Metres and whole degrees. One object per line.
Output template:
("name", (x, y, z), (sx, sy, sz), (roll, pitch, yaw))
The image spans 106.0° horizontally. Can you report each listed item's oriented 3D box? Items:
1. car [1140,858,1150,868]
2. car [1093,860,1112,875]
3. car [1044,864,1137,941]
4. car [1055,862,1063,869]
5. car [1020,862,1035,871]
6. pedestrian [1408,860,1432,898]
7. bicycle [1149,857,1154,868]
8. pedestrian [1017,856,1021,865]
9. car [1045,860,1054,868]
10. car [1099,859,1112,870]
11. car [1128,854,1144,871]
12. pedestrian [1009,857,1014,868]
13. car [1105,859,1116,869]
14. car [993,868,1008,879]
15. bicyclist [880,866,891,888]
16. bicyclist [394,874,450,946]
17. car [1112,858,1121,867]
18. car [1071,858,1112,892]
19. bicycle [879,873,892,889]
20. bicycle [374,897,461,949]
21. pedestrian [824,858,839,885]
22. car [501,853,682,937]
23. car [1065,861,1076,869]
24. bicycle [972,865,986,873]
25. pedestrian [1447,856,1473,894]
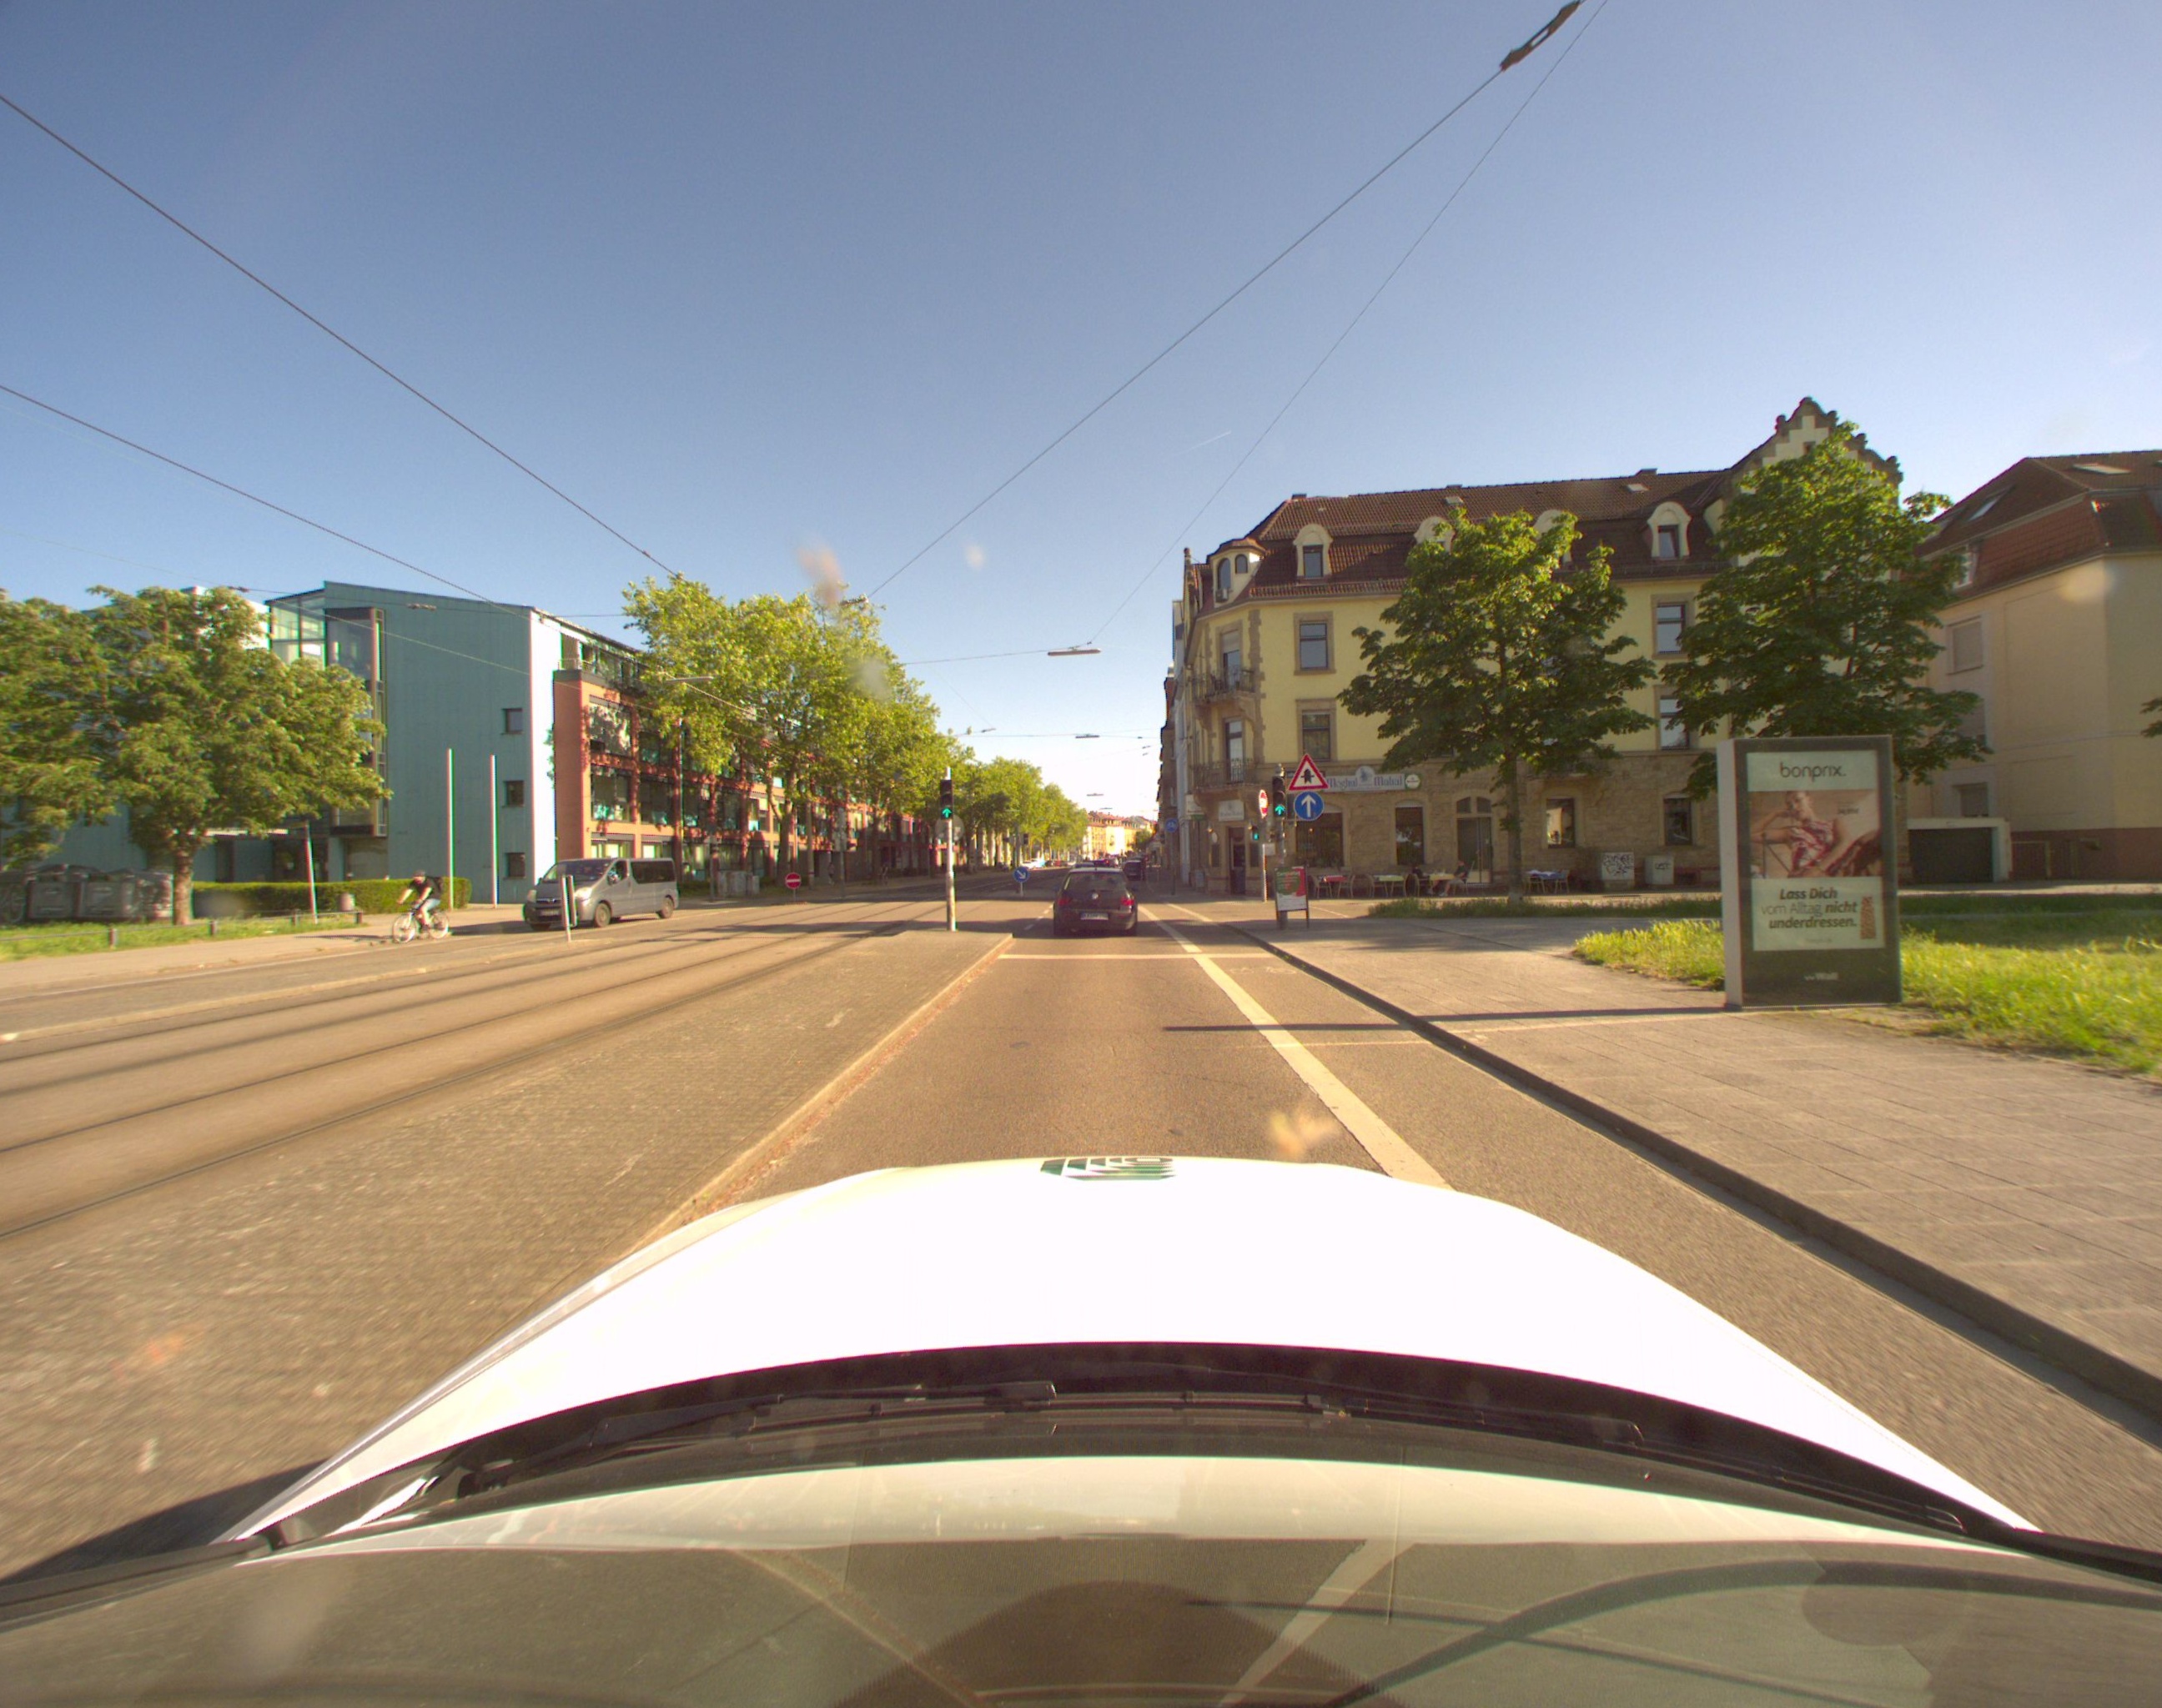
("car", (12.351, 1.717, 157.294), (1.751, 1.838, 3.552), (0, 0, 4))
("car", (2.210, 1.360, 82.298), (1.628, 1.472, 3.734), (-1, -1, 4))
("car", (0.291, 0.957, 17.610), (1.741, 1.375, 4.003), (-2, 0, 3))
("car", (-5.174, 2.741, 193.358), (1.563, 1.533, 3.576), (-1, -1, 4))
("car", (-9.280, 2.196, 142.311), (2.003, 1.572, 4.697), (0, 0, 3))
("pedestrian", (12.408, 0.901, 29.837), (0.635, 1.360, 0.703), (0, 0, 5))
("bicycle", (7.884, 0.945, 91.449), (0.512, 1.139, 2.261), (-3, 0, 4))
("pedestrian", (-12.488, 1.315, 163.539), (0.793, 1.820, 0.671), (0, 0, 4))
("car", (-6.756, 2.191, 176.622), (1.563, 1.533, 3.576), (-1, -1, 4))
("car", (3.365, 1.488, 112.380), (1.628, 1.472, 3.734), (-1, -1, 4))
("car", (6.404, 0.949, 94.293), (1.745, 1.855, 4.821), (-1, 0, 5))
("pedestrian", (-11.560, 1.428, 135.786), (0.785, 1.870, 0.668), (0, 0, -10))
("car", (4.851, 1.641, 132.018), (1.628, 1.472, 3.734), (-2, -1, 4))
("car", (-11.640, 2.873, 118.047), (1.500, 1.454, 3.467), (-2, -3, 5))
("bicyclist", (-14.324, 1.685, 59.670), (0.643, 1.611, 0.780), (0, 0, -4))
("bicyclist", (-16.390, 1.368, 20.266), (0.584, 1.711, 0.902), (-3, 0, 2))
("car", (6.611, 1.562, 151.794), (1.628, 1.472, 3.734), (-1, -1, 4))
("car", (0.571, 1.025, 41.080), (1.740, 1.538, 3.897), (-2, 0, 5))
("bicycle", (-14.325, 1.970, 59.687), (0.643, 1.042, 1.922), (0, 0, -4))
("bicycle", (-16.380, 1.680, 20.168), (0.584, 1.113, 1.827), (-3, 0, 2))
("pedestrian", (-18.853, 1.329, 61.546), (0.908, 2.013, 0.780), (0, 0, -5))
("car", (-13.966, 1.069, 23.745), (2.013, 2.013, 5.249), (-3, 1, 0))
("car", (-2.333, 2.497, 182.488), (1.742, 1.518, 4.083), (-3, -1, 10))
("bicycle", (-15.604, 2.283, 124.838), (1.999, 1.278, 0.665), (0, 0, 4))
("pedestrian", (13.787, 0.750, 29.638), (0.635, 1.360, 0.703), (0, 0, 5))
